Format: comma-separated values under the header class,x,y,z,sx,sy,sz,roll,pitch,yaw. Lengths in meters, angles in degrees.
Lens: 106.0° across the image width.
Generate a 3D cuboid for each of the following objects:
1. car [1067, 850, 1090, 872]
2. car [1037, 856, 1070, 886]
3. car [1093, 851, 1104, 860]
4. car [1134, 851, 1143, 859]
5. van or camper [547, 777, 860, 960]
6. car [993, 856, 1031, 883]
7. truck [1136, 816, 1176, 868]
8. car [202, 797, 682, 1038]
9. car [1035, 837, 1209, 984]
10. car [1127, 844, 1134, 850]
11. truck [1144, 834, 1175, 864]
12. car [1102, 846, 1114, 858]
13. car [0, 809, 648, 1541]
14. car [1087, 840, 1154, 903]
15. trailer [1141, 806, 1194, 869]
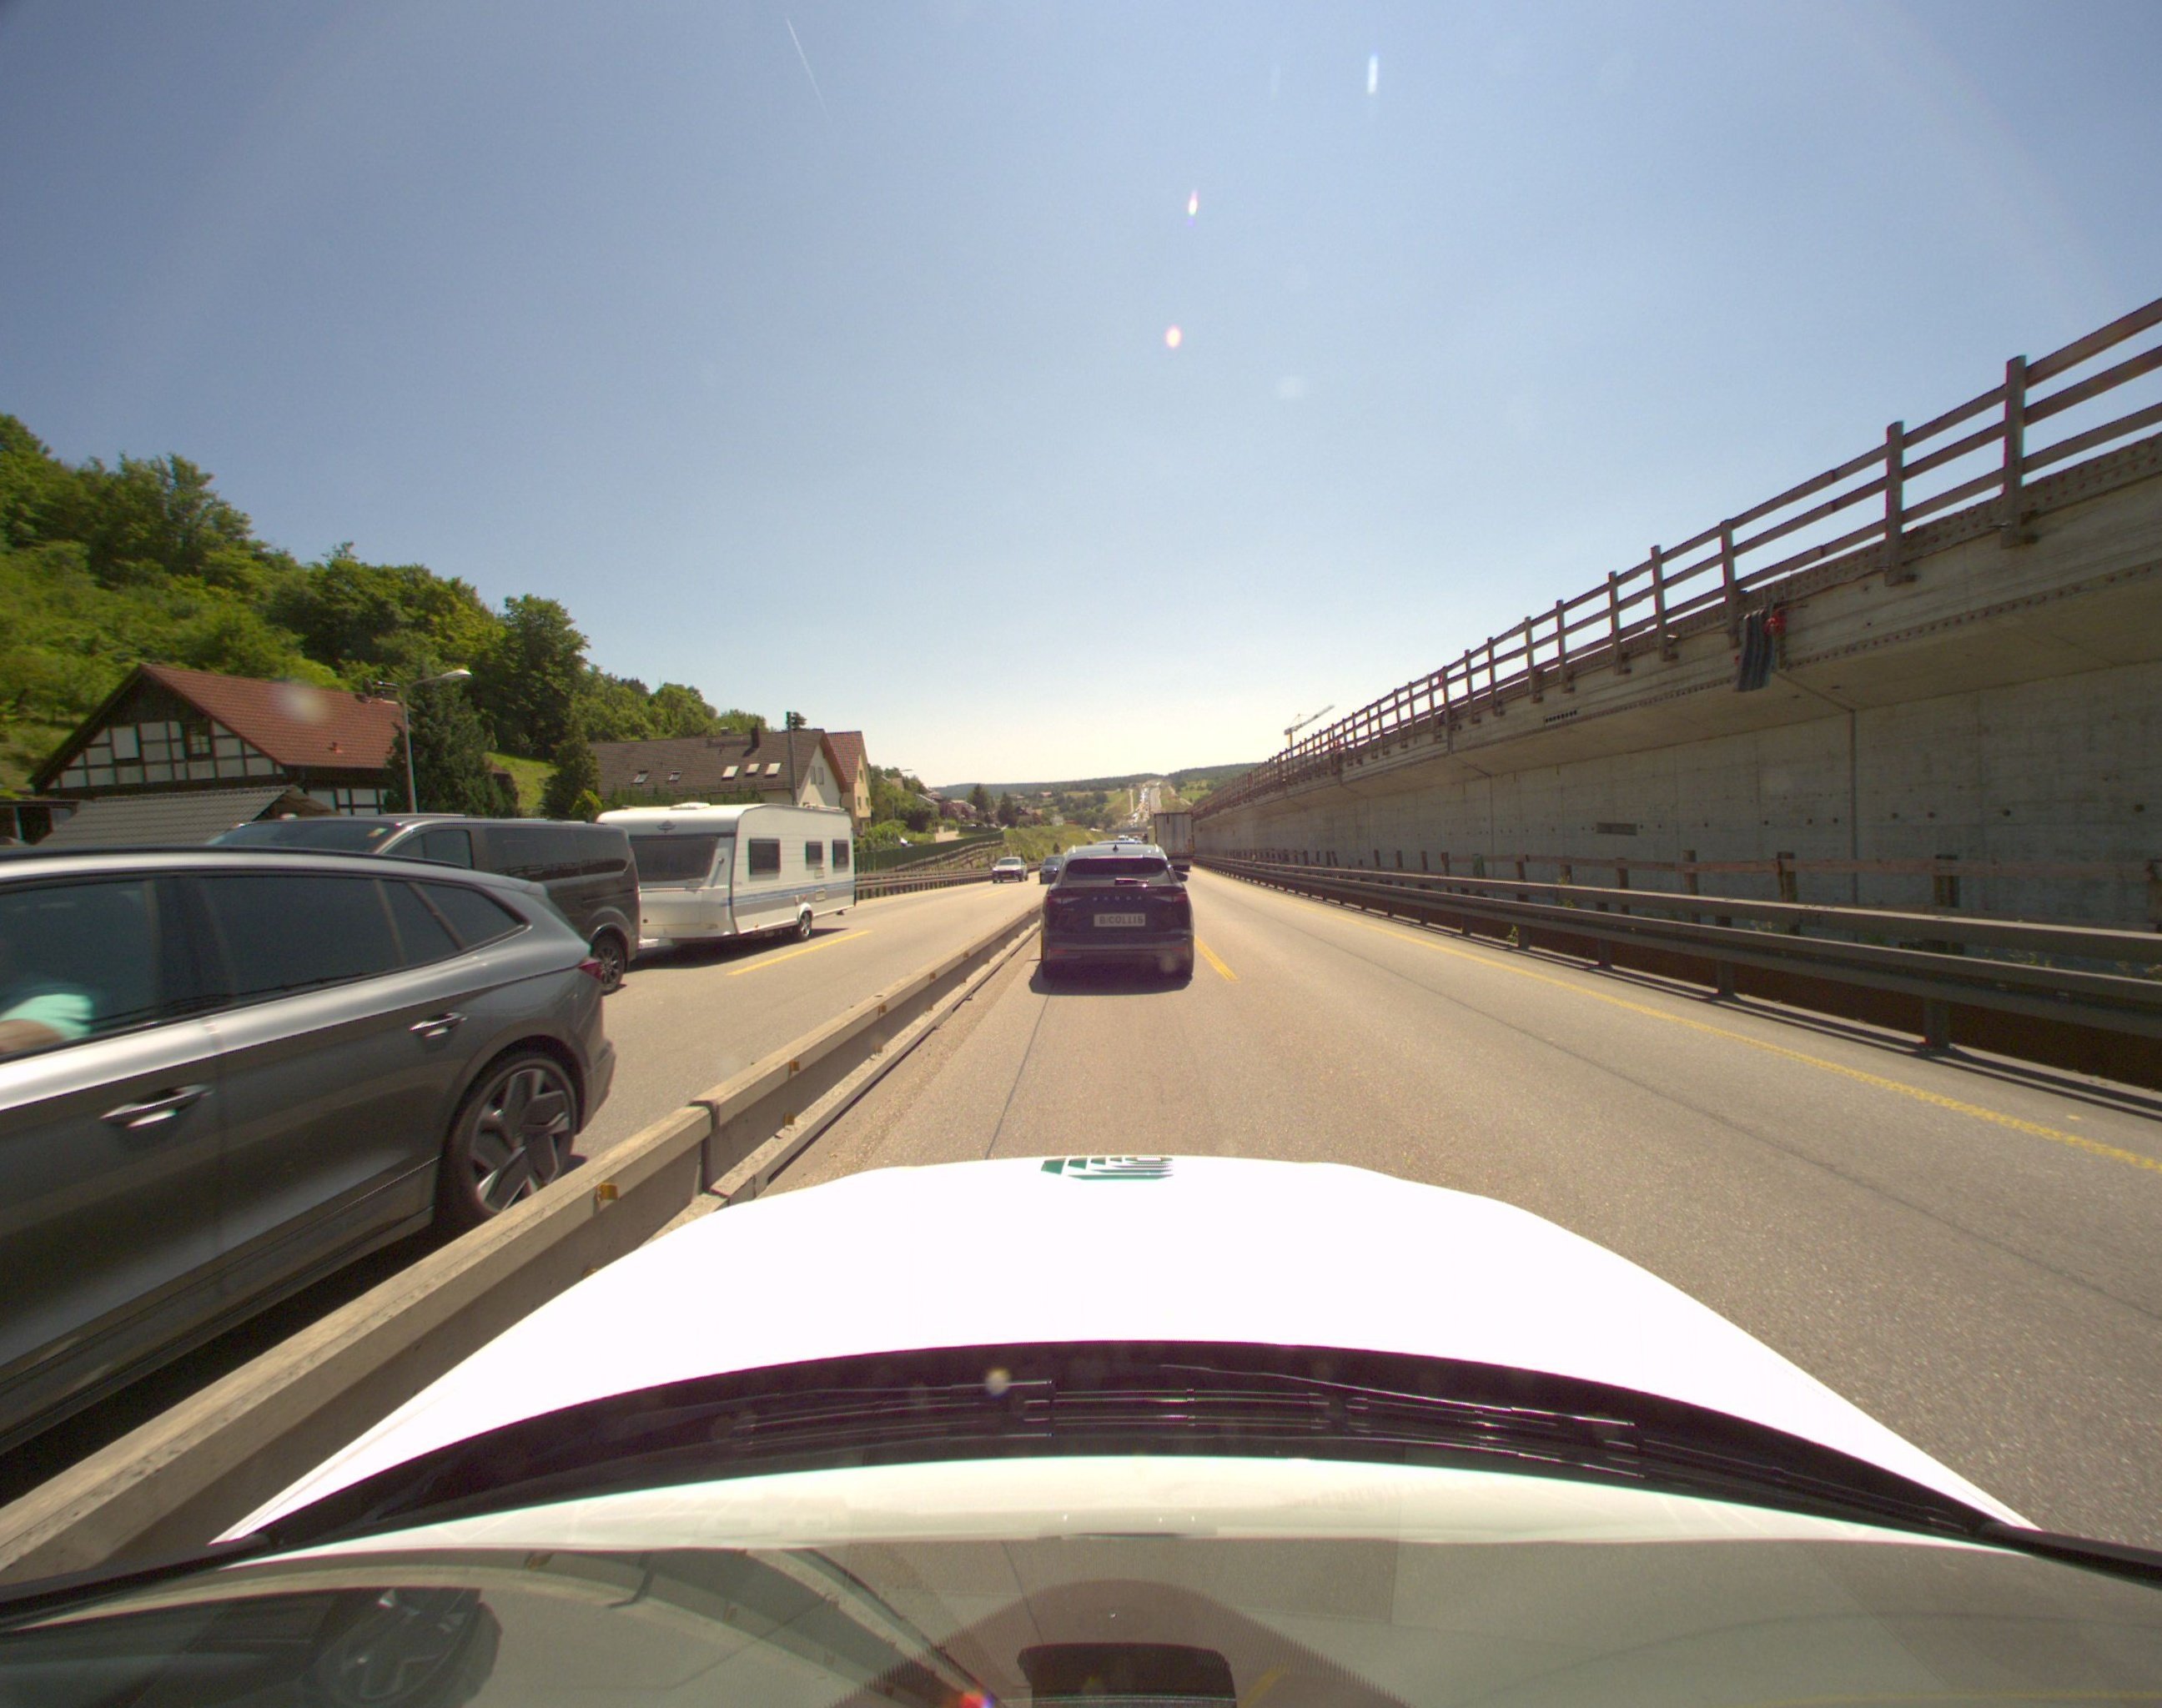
class,x,y,z,sx,sy,sz,roll,pitch,yaw
car,-0.149,0.503,57.934,1.541,1.549,3.239,-1,-1,2
car,-1.433,0.894,43.771,1.541,1.549,3.239,-1,-1,2
car,3.174,0.239,148.396,1.837,1.585,3.837,-1,-1,2
car,12.419,0.213,176.626,1.837,1.585,3.837,-1,-1,2
van or camper,-6.117,0.262,14.476,2.345,2.516,6.331,-1,-1,3
car,-4.191,0.939,49.969,1.836,1.543,4.178,-1,-1,1
truck,6.141,-0.891,67.507,2.505,4.025,8.235,-1,-1,0
car,-6.378,0.571,8.881,1.986,2.014,4.001,-1,-1,1
car,0.347,0.651,10.885,1.839,1.586,3.901,-1,-1,-4
car,14.329,-1.913,236.581,1.837,1.585,3.837,-1,-1,2
truck,9.073,-0.464,95.145,3.181,3.191,12.822,-1,-1,4
car,4.025,-0.283,121.111,1.837,1.585,3.837,-1,-1,2
car,-3.275,0.713,2.061,1.865,1.586,4.480,-1,-1,1
car,1.214,0.515,26.509,1.704,1.881,3.994,-1,0,-4
trailer,6.149,-0.995,59.564,2.524,4.127,11.543,-1,-1,0
